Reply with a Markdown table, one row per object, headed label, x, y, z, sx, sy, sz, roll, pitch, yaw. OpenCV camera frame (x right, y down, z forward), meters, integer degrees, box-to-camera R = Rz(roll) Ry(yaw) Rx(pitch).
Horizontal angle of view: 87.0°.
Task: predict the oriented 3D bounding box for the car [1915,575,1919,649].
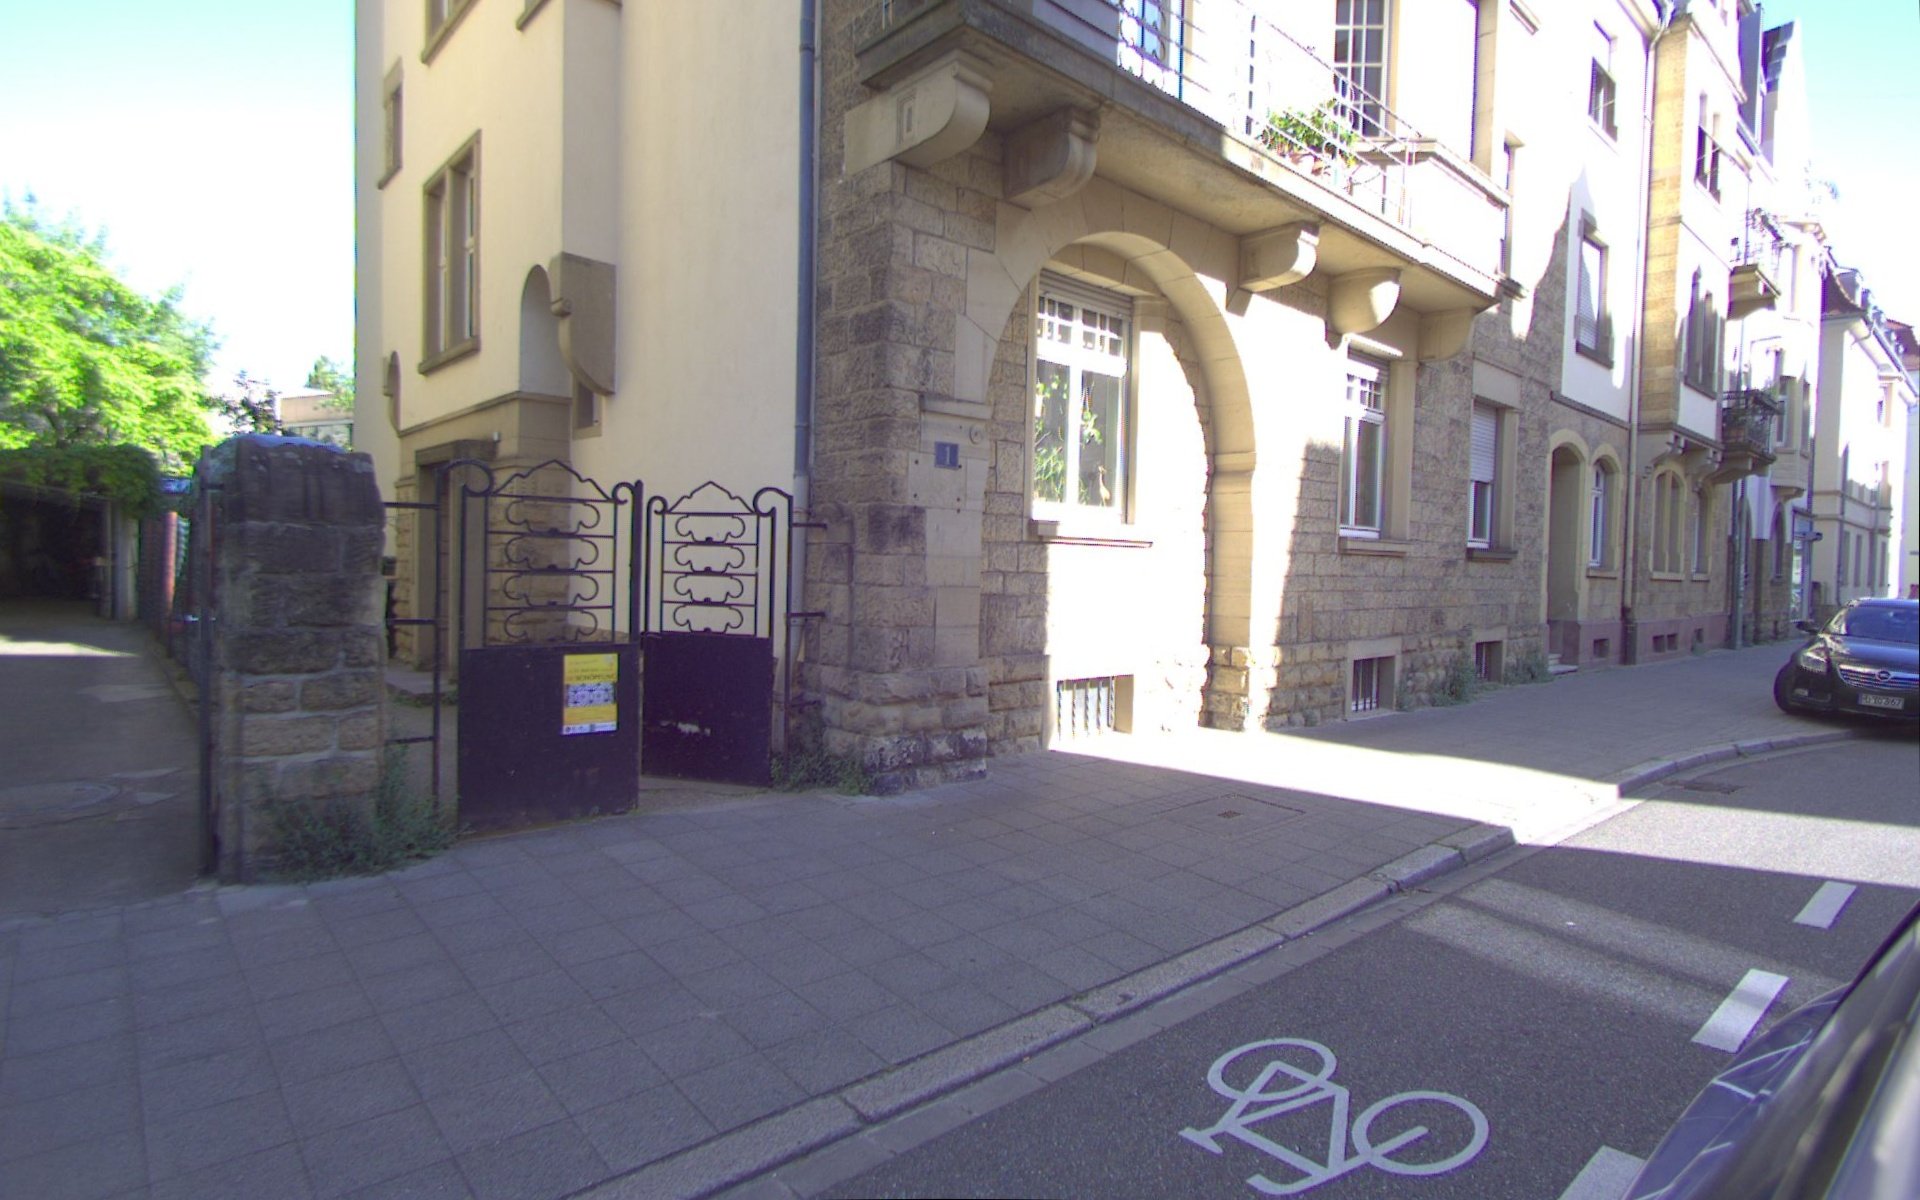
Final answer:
| label | x | y | z | sx | sy | sz | roll | pitch | yaw |
| --- | --- | --- | --- | --- | --- | --- | --- | --- | --- |
| car | 26.228 | 0.335 | 26.051 | 4.247 | 1.860 | 2.004 | -1 | 4 | -42 |

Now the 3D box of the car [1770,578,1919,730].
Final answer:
| label | x | y | z | sx | sy | sz | roll | pitch | yaw |
| --- | --- | --- | --- | --- | --- | --- | --- | --- | --- |
| car | 11.496 | 0.569 | 12.182 | 4.043 | 1.526 | 2.023 | -1 | 5 | -42 |

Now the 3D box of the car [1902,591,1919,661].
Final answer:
| label | x | y | z | sx | sy | sz | roll | pitch | yaw |
| --- | --- | --- | --- | --- | --- | --- | --- | --- | --- |
| car | 22.166 | 0.581 | 22.193 | 4.247 | 1.440 | 1.823 | -1 | 4 | -42 |

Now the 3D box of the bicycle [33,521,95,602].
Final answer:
| label | x | y | z | sx | sy | sz | roll | pitch | yaw |
| --- | --- | --- | --- | --- | --- | --- | --- | --- | --- |
| bicycle | -18.307 | -0.816 | 20.723 | 0.903 | 1.530 | 2.672 | 0 | 4 | -41 |

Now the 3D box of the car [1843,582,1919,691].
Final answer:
| label | x | y | z | sx | sy | sz | roll | pitch | yaw |
| --- | --- | --- | --- | --- | --- | --- | --- | --- | --- |
| car | 15.526 | 0.565 | 15.867 | 4.247 | 1.527 | 2.004 | 0 | 3 | -42 |

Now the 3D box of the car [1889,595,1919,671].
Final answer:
| label | x | y | z | sx | sy | sz | roll | pitch | yaw |
| --- | --- | --- | --- | --- | --- | --- | --- | --- | --- |
| car | 18.789 | 0.618 | 18.972 | 3.667 | 1.295 | 1.659 | -1 | 4 | -42 |
